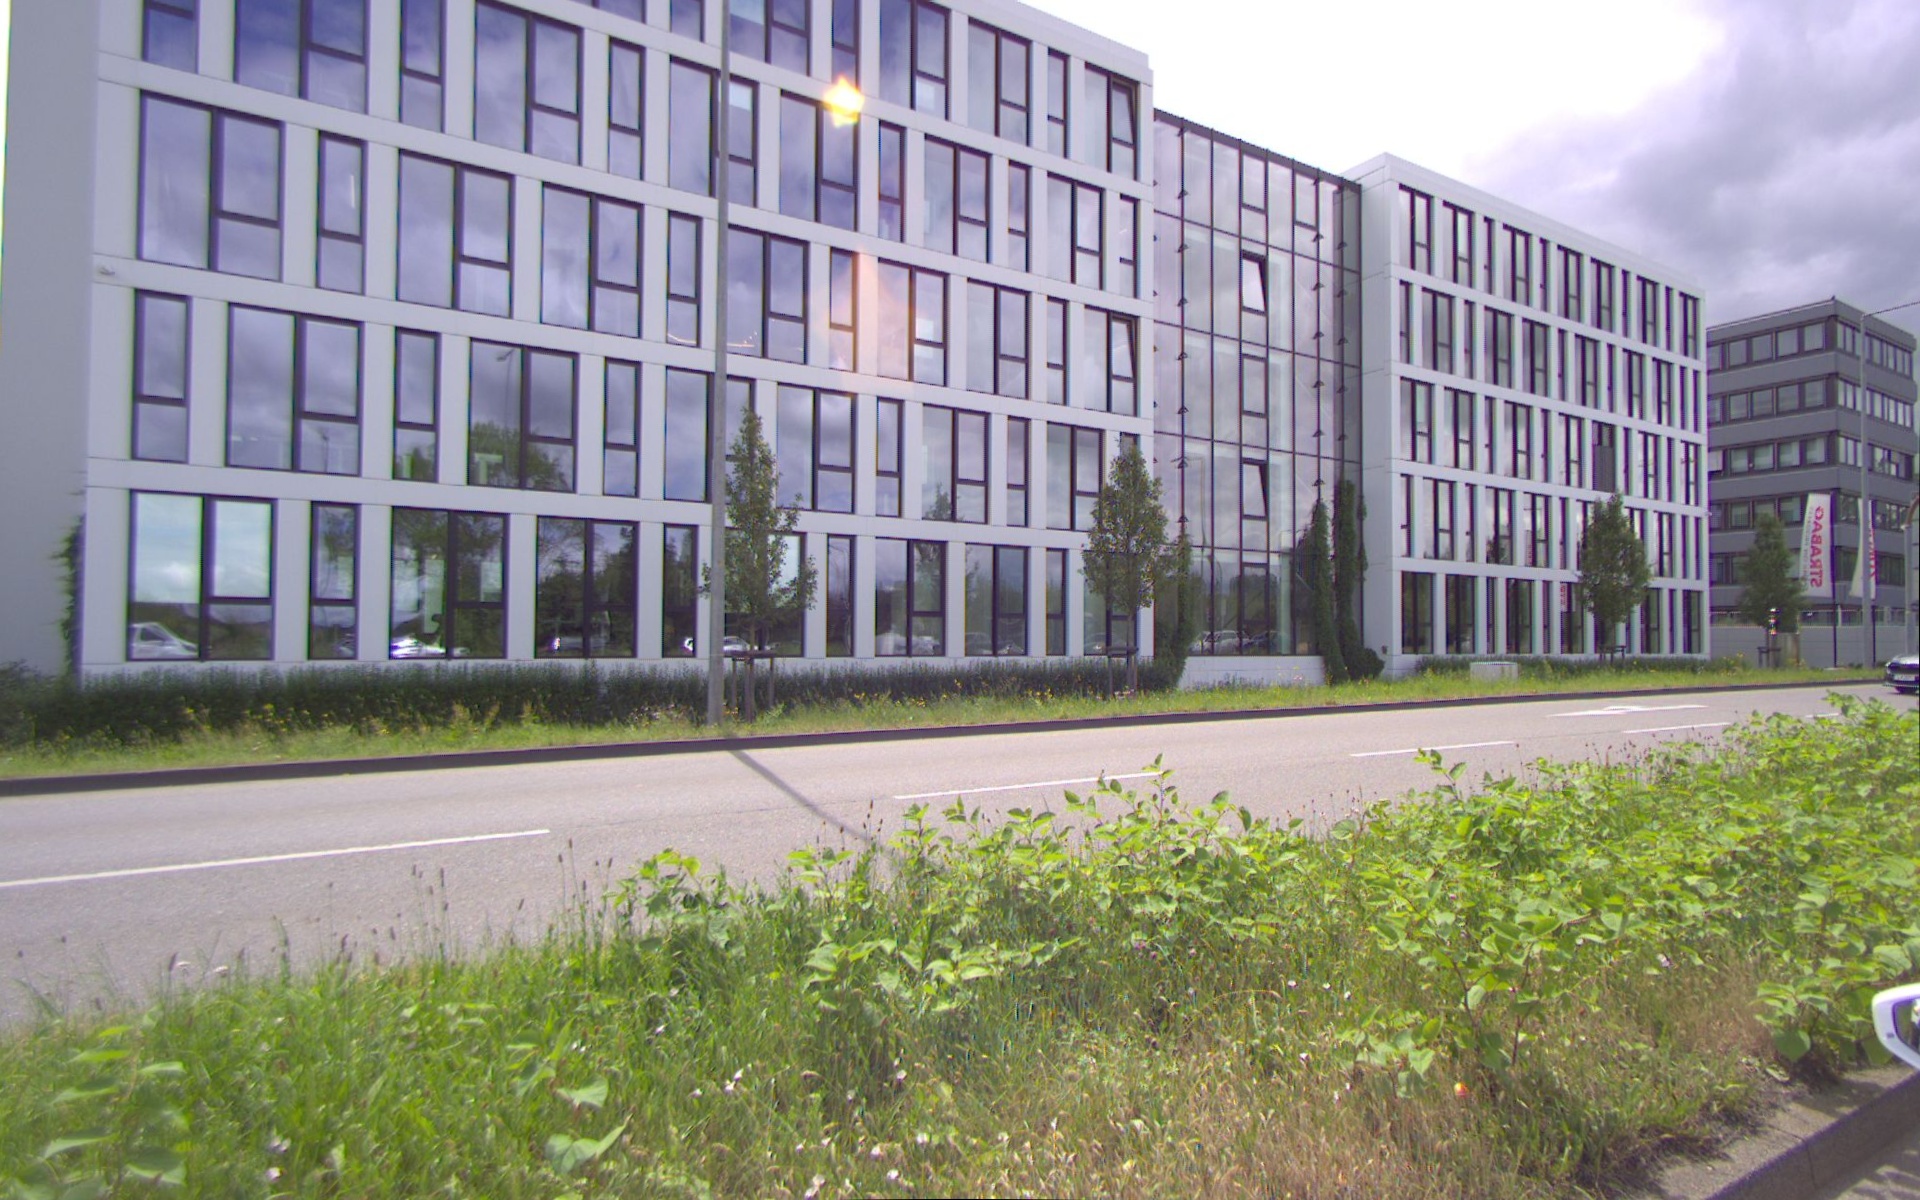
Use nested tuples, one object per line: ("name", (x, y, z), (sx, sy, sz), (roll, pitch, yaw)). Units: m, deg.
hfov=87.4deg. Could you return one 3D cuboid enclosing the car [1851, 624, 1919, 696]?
("car", (22.790, 1.321, 22.280), (4.232, 1.545, 2.001), (0, -2, 2))
